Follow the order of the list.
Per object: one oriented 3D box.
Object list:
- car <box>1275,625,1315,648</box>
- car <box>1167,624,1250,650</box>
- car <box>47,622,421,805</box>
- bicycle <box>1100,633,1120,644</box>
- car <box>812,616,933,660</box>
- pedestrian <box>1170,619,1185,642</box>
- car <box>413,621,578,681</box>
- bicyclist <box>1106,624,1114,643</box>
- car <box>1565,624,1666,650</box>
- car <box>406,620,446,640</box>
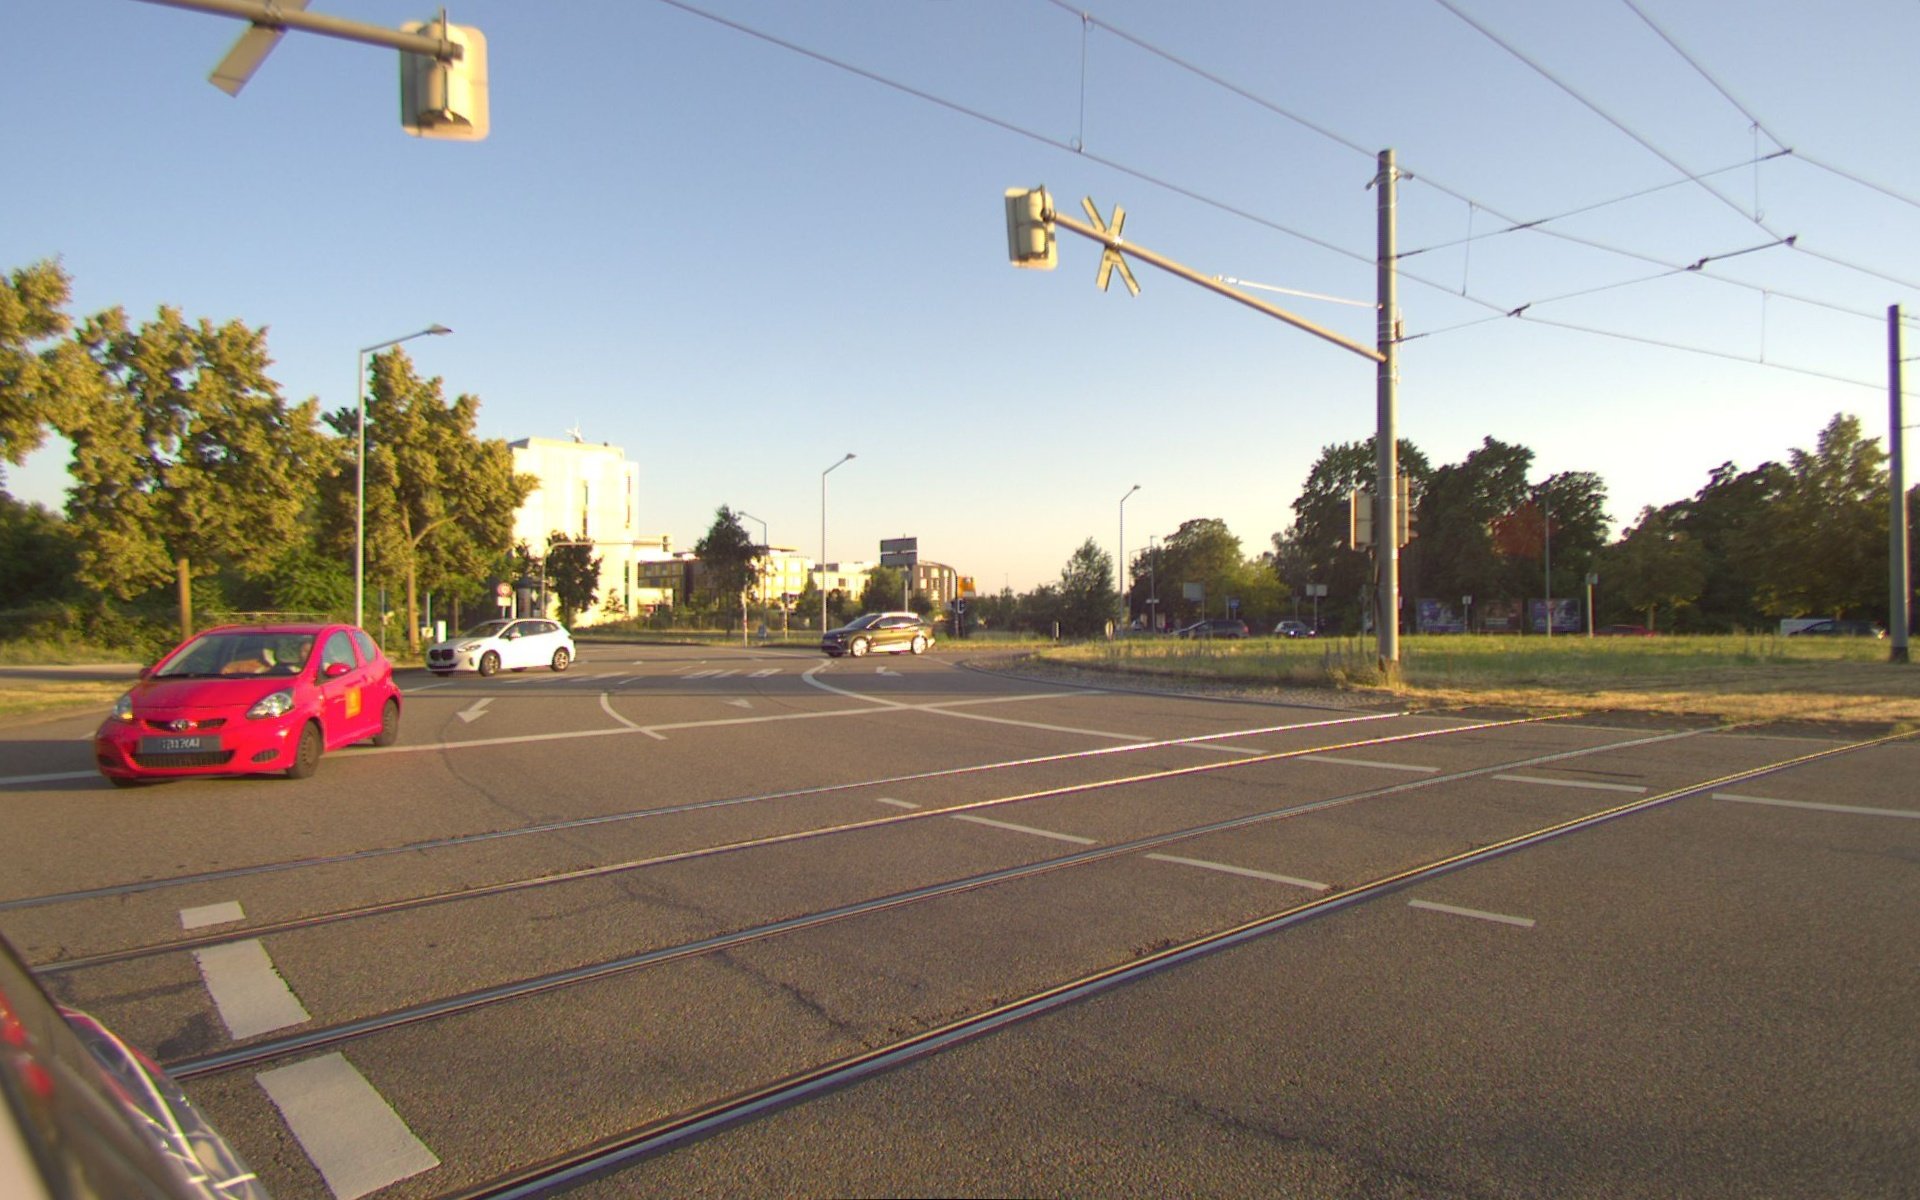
[{"bbox_3d":[23.502,2.552,71.129,1.820,1.512,4.245,0,-1,7],"label":"car"},{"bbox_3d":[14.268,2.112,58.277,4.348,1.443,1.941,0,-2,6],"label":"car"},{"bbox_3d":[-7.138,0.979,10.526,1.666,1.432,4.222,0,-1,-13],"label":"car"},{"bbox_3d":[10.944,2.836,73.794,1.397,0.797,0.474,0,-2,-4],"label":"bicycle"},{"bbox_3d":[-3.289,1.420,38.111,4.142,1.570,1.834,1,-2,-31],"label":"car"},{"bbox_3d":[16.763,2.356,77.974,0.875,1.714,0.723,1,-2,-26],"label":"pedestrian"},{"bbox_3d":[-13.024,1.399,28.634,1.749,1.570,4.182,-1,-2,23],"label":"car"},{"bbox_3d":[10.953,2.447,73.791,0.441,1.408,0.474,0,-2,-4],"label":"bicyclist"},{"bbox_3d":[38.497,2.177,59.553,1.913,1.443,4.606,1,-2,-36],"label":"car"},{"bbox_3d":[-45.802,2.579,86.770,4.194,1.637,1.846,-1,-1,44],"label":"car"}]
